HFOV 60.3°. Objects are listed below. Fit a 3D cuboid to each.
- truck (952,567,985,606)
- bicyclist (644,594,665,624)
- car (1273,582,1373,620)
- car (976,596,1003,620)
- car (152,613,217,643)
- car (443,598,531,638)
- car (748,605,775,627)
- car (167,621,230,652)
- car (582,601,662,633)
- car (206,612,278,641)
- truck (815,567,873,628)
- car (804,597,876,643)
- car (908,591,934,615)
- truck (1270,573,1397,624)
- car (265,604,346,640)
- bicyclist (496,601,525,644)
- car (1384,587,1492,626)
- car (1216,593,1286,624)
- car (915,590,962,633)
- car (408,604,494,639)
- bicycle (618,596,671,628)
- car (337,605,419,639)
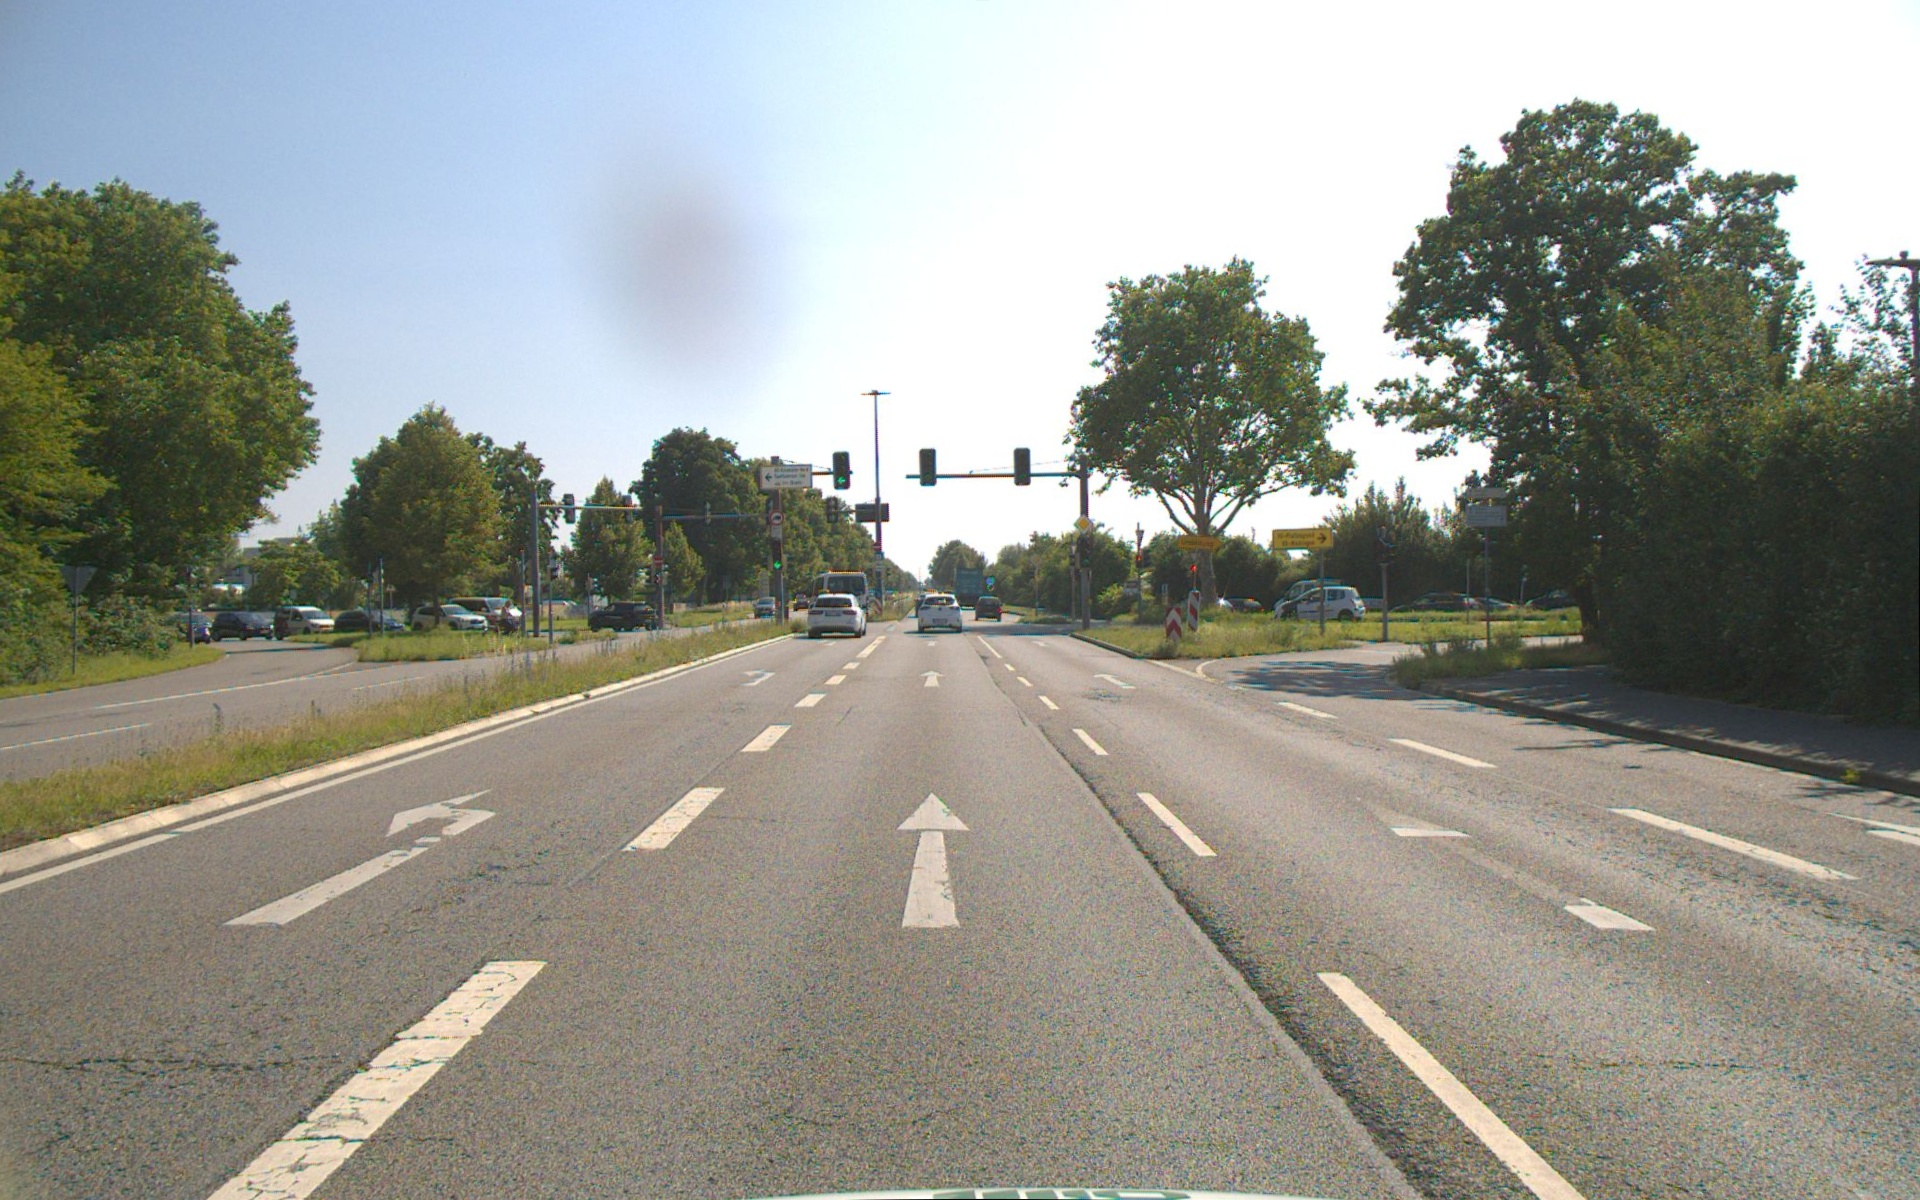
[{"bbox_3d":[0.755,-1.263,156.661,2.833,3.488,9.167,-1,0,-1],"label":"truck"},{"bbox_3d":[-16.743,0.505,90.753,0.845,1.647,0.757,0,-1,27],"label":"bicyclist"},{"bbox_3d":[14.622,0.040,66.604,3.668,1.495,1.785,-1,0,24],"label":"car"},{"bbox_3d":[1.788,0.473,100.808,1.540,1.439,3.277,0,-1,-1],"label":"car"},{"bbox_3d":[-45.856,1.668,97.794,4.191,1.634,1.993,-2,0,42],"label":"car"},{"bbox_3d":[-24.942,0.967,87.187,4.559,1.984,1.994,-2,0,34],"label":"car"},{"bbox_3d":[-14.253,1.117,119.105,1.456,1.439,3.761,-3,0,-1],"label":"car"},{"bbox_3d":[-41.358,1.986,89.783,1.983,1.521,4.220,-3,1,-41],"label":"car"},{"bbox_3d":[-17.605,0.874,86.107,3.917,1.678,1.908,0,0,34],"label":"car"},{"bbox_3d":[-41.089,1.537,94.588,4.041,1.538,1.913,-2,0,35],"label":"car"},{"bbox_3d":[-4.958,-0.132,70.054,2.327,2.430,6.034,-1,1,-5],"label":"truck"},{"bbox_3d":[-4.134,0.664,57.568,1.774,1.490,4.973,-1,0,4],"label":"car"},{"bbox_3d":[-2.422,0.205,103.896,1.540,1.439,3.277,-1,0,-1],"label":"car"},{"bbox_3d":[18.579,-0.035,82.622,2.317,2.428,6.399,2,-2,-33],"label":"truck"},{"bbox_3d":[-36.070,1.209,91.079,4.415,1.832,1.998,-2,0,35],"label":"car"},{"bbox_3d":[-16.489,0.828,60.653,0.829,1.544,0.747,0,0,4],"label":"bicyclist"},{"bbox_3d":[21.378,0.303,74.074,1.869,1.663,4.405,2,-1,-39],"label":"car"},{"bbox_3d":[15.386,0.454,87.493,1.599,1.574,3.785,2,-1,-31],"label":"car"},{"bbox_3d":[-0.795,0.434,64.032,1.762,1.580,4.000,0,1,0],"label":"car"},{"bbox_3d":[-25.765,1.076,83.721,4.180,1.634,1.998,-2,0,35],"label":"car"},{"bbox_3d":[-17.367,0.664,91.073,2.737,1.699,1.135,-1,0,27],"label":"bicycle"},{"bbox_3d":[-30.685,1.179,87.148,4.180,1.634,1.998,-2,0,35],"label":"car"}]
